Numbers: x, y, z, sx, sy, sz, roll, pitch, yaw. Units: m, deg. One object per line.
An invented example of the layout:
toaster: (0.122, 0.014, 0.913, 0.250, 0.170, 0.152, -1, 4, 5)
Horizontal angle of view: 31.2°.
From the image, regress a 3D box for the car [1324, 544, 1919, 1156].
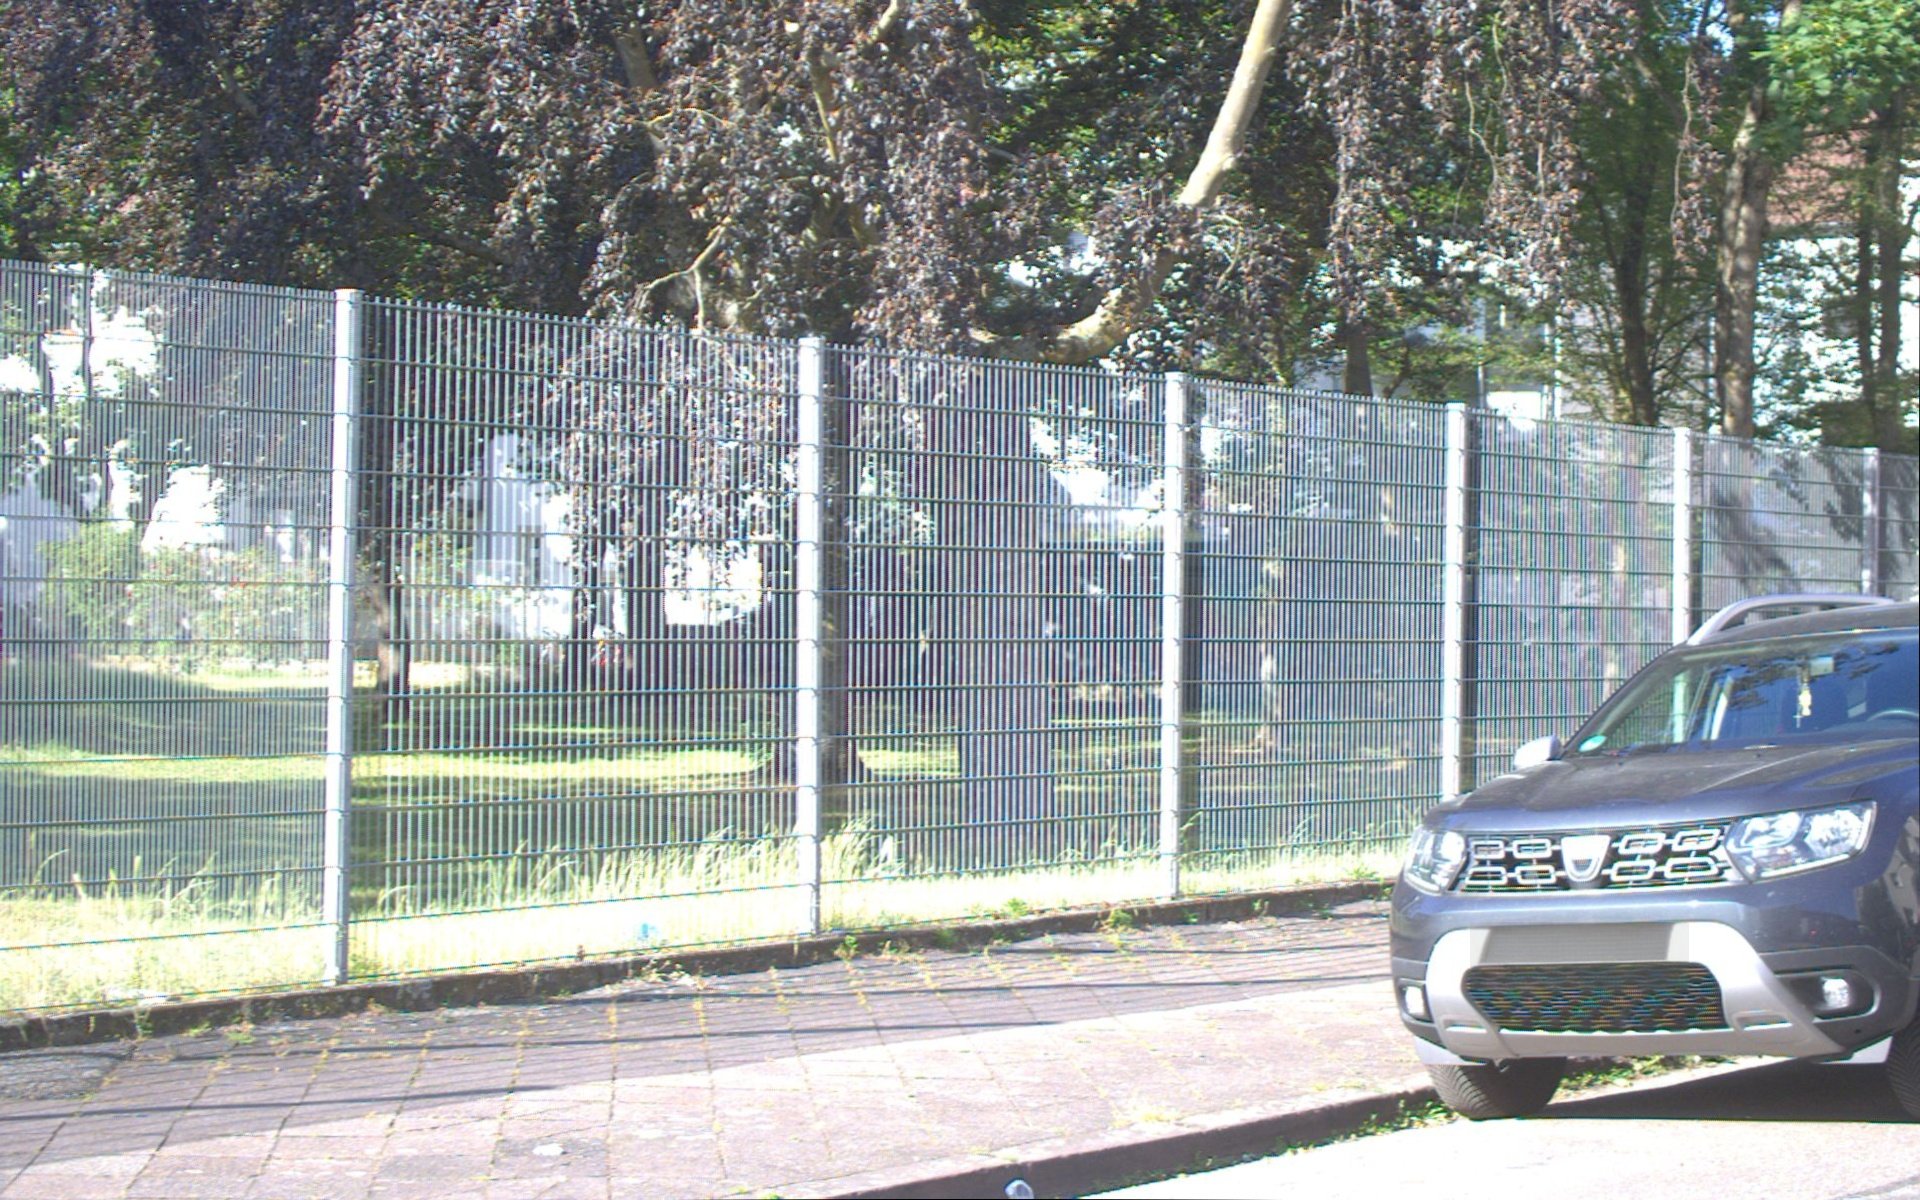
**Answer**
car: (3.085, 0.751, 11.507, 1.716, 1.658, 4.155, -3, -3, 38)
